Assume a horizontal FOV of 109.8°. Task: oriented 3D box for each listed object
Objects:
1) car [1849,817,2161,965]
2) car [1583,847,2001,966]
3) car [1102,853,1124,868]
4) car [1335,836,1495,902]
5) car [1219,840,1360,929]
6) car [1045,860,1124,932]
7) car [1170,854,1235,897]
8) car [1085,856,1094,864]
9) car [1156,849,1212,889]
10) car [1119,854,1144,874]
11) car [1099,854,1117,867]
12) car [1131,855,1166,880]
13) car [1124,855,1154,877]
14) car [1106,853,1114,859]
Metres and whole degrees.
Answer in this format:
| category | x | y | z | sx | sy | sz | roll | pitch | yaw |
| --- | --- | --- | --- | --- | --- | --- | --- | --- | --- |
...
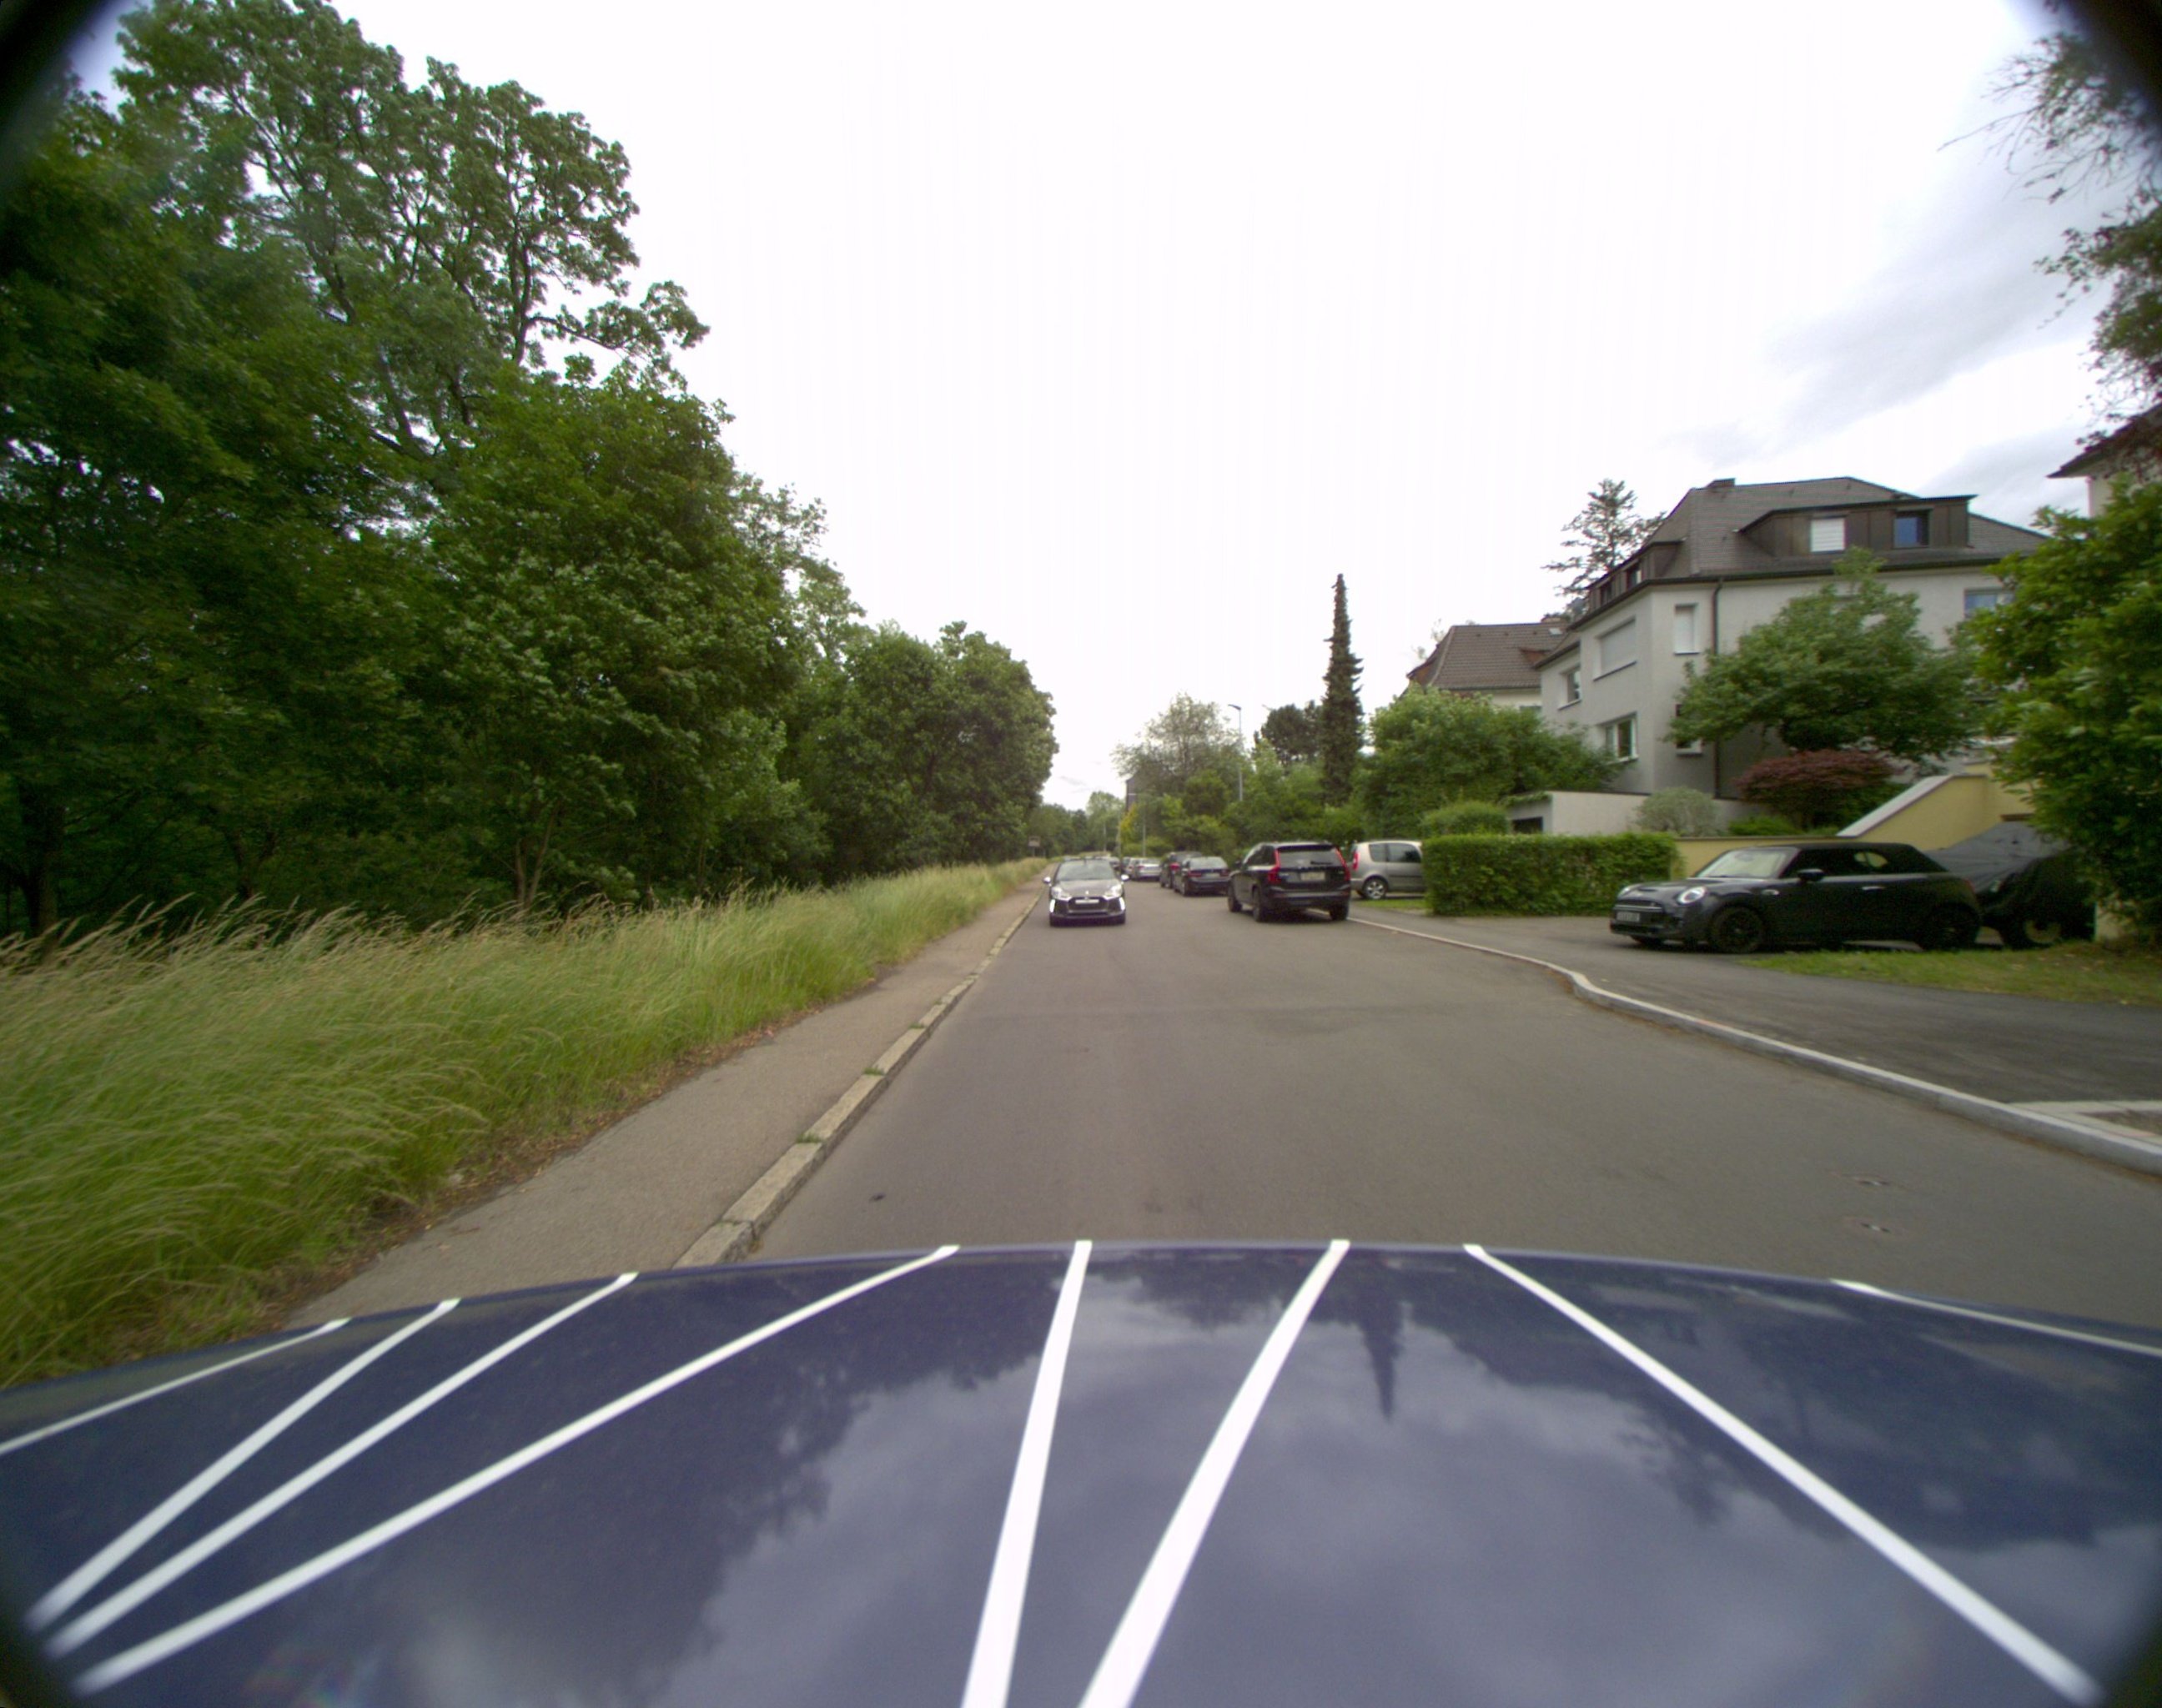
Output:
| category | x | y | z | sx | sy | sz | roll | pitch | yaw |
| --- | --- | --- | --- | --- | --- | --- | --- | --- | --- |
| car | 13.420 | 0.482 | 10.424 | 3.554 | 1.783 | 2.010 | 2 | 0 | 5 |
| car | 9.230 | 0.658 | 10.144 | 3.831 | 1.377 | 1.778 | -1 | -1 | 2 |
| car | 3.185 | 0.675 | 77.047 | 1.783 | 1.423 | 5.104 | -1 | 0 | -2 |
| car | 9.069 | 0.403 | 20.906 | 3.698 | 1.628 | 1.830 | -2 | 0 | 12 |
| car | 4.683 | 0.617 | 17.951 | 1.979 | 1.726 | 5.189 | -2 | 0 | 1 |
| car | 0.180 | 0.902 | 18.022 | 1.619 | 1.460 | 4.001 | -1 | 0 | 3 |
| car | 4.479 | 0.756 | 28.674 | 1.758 | 1.404 | 4.898 | -2 | 0 | 1 |
| car | 1.710 | 1.135 | 145.527 | 1.647 | 1.461 | 4.071 | 1 | 0 | 1 |
| car | 4.530 | 0.613 | 34.124 | 1.736 | 1.623 | 4.567 | -2 | 0 | -2 |
| car | 3.756 | 0.737 | 56.838 | 1.627 | 1.441 | 3.969 | 0 | 0 | 0 |
| car | 2.977 | 0.672 | 83.532 | 1.628 | 1.423 | 4.350 | 0 | 0 | -2 |
| car | 4.056 | 0.766 | 46.255 | 1.627 | 1.441 | 4.092 | 0 | 0 | -2 |
| car | 3.934 | 0.806 | 52.122 | 1.664 | 1.444 | 4.381 | 0 | 0 | 0 |
| car | 7.531 | 0.441 | 197.177 | 1.735 | 1.420 | 3.460 | 1 | 1 | 10 |
